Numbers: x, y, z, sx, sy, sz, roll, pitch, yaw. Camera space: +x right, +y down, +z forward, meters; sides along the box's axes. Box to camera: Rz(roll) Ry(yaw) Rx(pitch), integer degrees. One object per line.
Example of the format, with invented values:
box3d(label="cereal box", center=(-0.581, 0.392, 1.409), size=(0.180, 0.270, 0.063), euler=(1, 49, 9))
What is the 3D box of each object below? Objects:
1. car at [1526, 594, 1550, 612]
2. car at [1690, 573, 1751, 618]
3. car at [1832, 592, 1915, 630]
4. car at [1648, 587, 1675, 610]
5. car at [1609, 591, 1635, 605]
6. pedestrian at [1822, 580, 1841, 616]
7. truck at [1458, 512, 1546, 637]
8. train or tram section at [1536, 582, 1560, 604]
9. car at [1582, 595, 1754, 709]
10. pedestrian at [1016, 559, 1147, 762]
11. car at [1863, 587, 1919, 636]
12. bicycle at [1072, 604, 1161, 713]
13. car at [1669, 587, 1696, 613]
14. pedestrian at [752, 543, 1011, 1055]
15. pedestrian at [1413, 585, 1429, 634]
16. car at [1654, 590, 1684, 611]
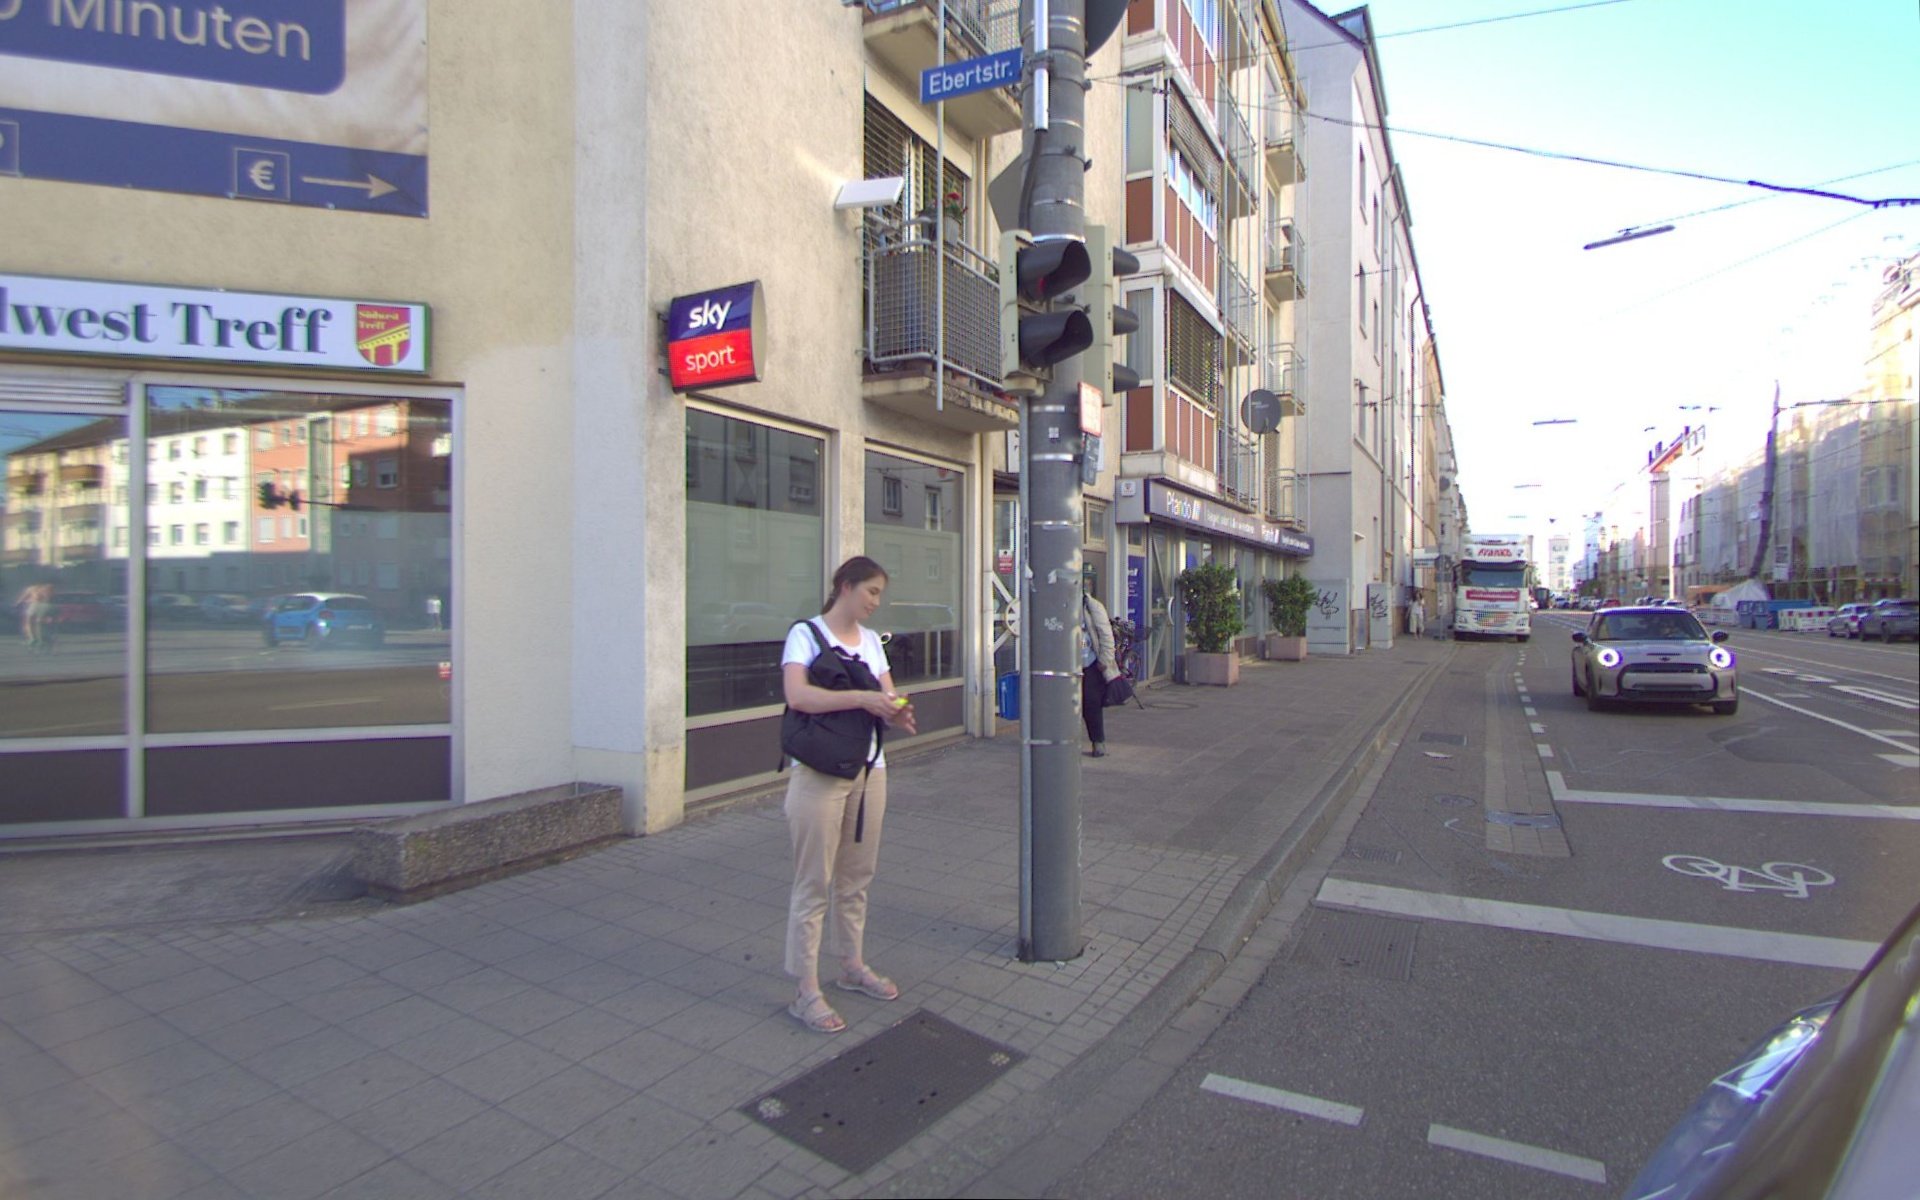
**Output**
box3d(label="car", center=(64.648, 0.340, 113.256), size=(1.980, 1.906, 4.232), euler=(-2, 0, 27))
box3d(label="car", center=(49.271, -0.291, 65.711), size=(2.196, 2.731, 5.815), euler=(-2, 0, 28))
box3d(label="car", center=(36.999, 0.425, 41.088), size=(1.550, 1.398, 3.476), euler=(-3, -1, 27))
box3d(label="car", center=(63.813, -0.181, 92.124), size=(1.557, 1.981, 4.142), euler=(-2, 0, 29))
box3d(label="car", center=(80.521, -0.270, 123.225), size=(2.212, 1.546, 4.910), euler=(-2, 0, 29))
box3d(label="pedestrian", center=(45.768, -0.102, 53.147), size=(0.514, 1.896, 0.755), euler=(-3, -1, 28))
box3d(label="truck", center=(21.790, -0.985, 40.589), size=(2.678, 4.291, 11.659), euler=(0, 1, 29))
box3d(label="train or tram section", center=(98.005, -1.219, 168.768), size=(2.841, 3.607, 12.918), euler=(0, 1, 27))
box3d(label="car", center=(10.217, 0.672, 14.857), size=(1.714, 1.443, 3.776), euler=(0, -1, 30))
box3d(label="pedestrian", center=(1.060, 0.482, 8.707), size=(0.878, 1.612, 0.804), euler=(2, 0, 24))
box3d(label="car", center=(35.044, 0.381, 37.144), size=(1.735, 1.629, 4.121), euler=(-3, -1, 27))
box3d(label="bicycle", center=(1.913, 0.652, 12.150), size=(0.493, 1.176, 1.760), euler=(-1, 0, 28))
box3d(label="car", center=(57.768, 0.000, 80.911), size=(1.649, 1.947, 3.717), euler=(-3, -1, 35))
box3d(label="pedestrian", center=(-0.291, 0.630, 3.674), size=(0.719, 1.643, 0.541), euler=(-1, 4, -37))
box3d(label="pedestrian", center=(15.857, 0.316, 34.813), size=(0.472, 1.650, 0.462), euler=(0, 0, 30))
box3d(label="car", center=(60.574, 0.031, 86.487), size=(1.557, 1.705, 3.897), euler=(-2, 0, 29))
